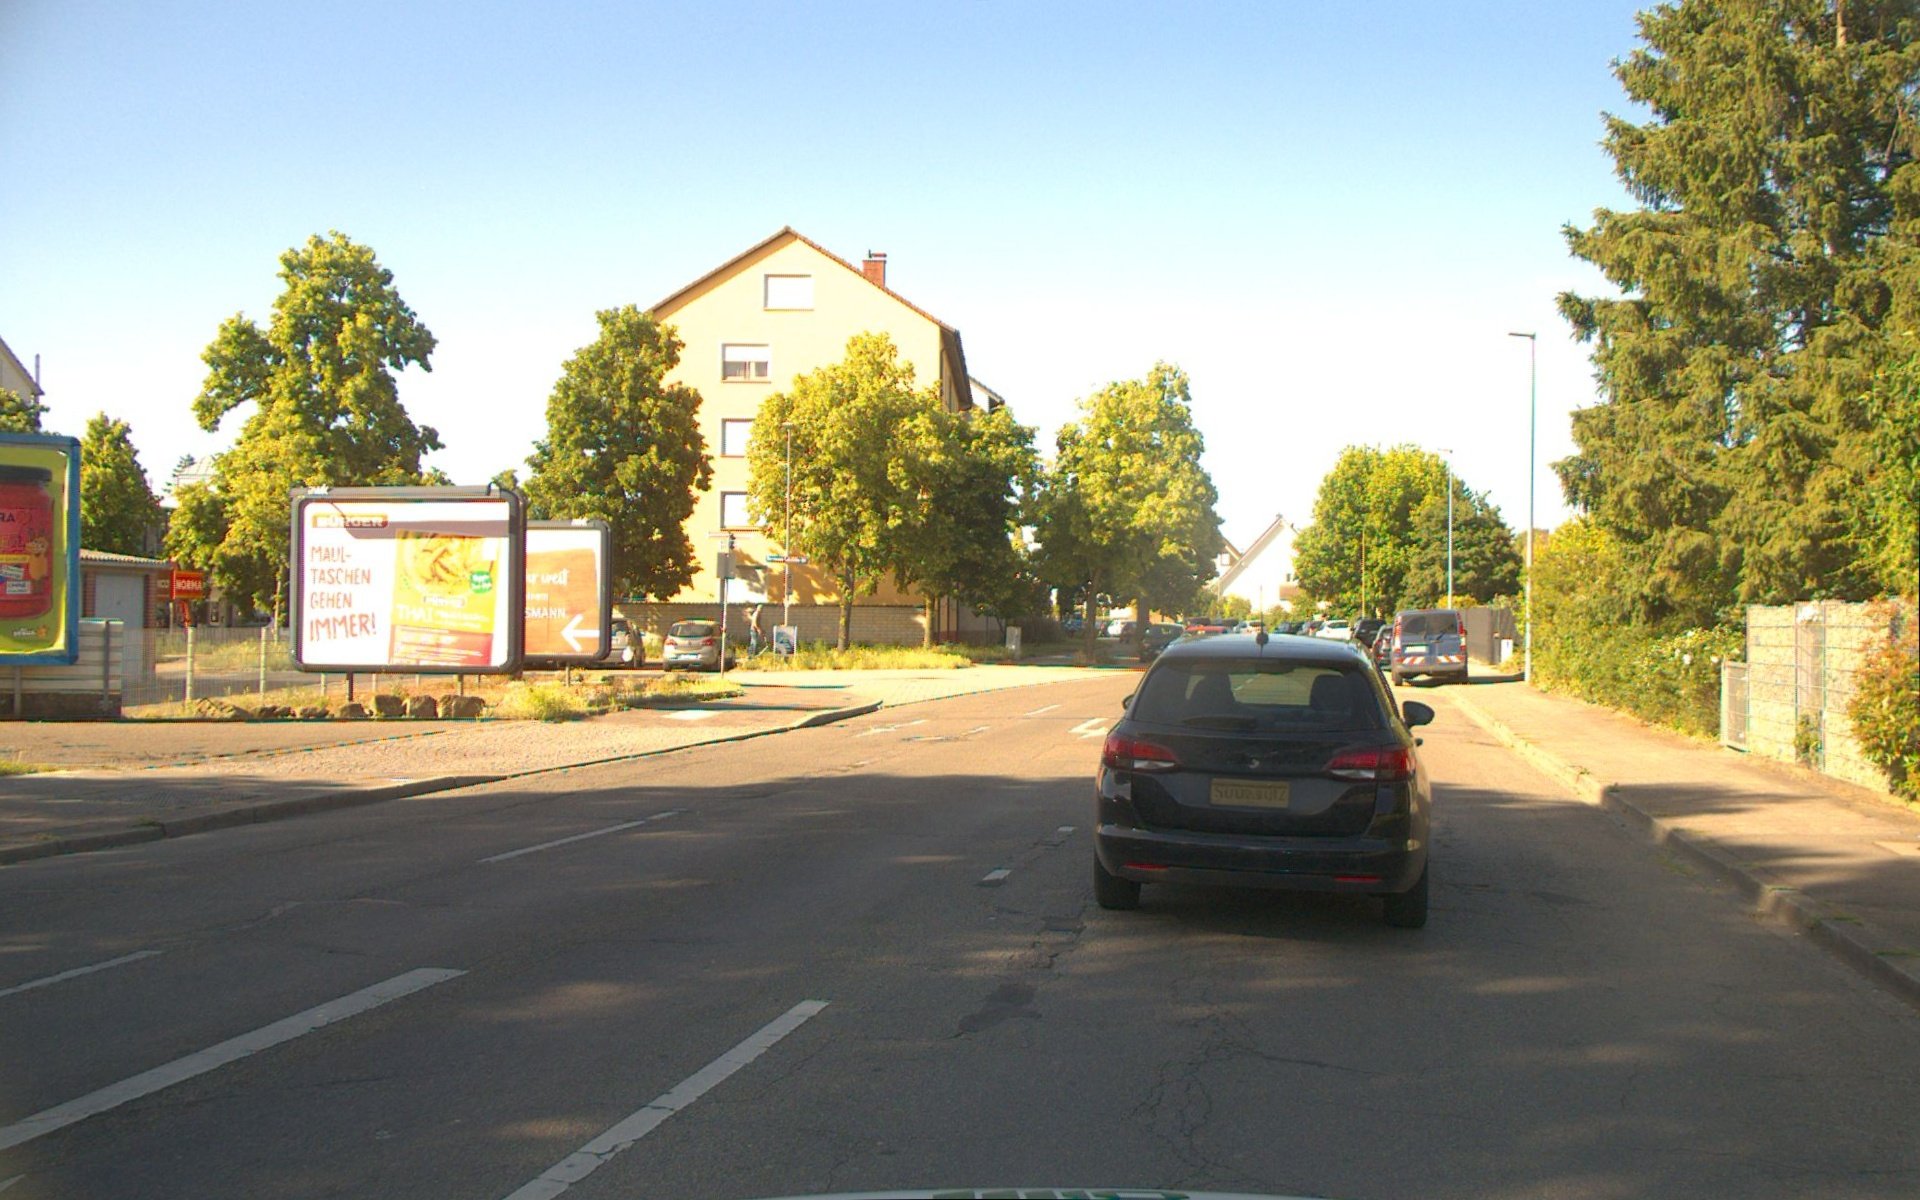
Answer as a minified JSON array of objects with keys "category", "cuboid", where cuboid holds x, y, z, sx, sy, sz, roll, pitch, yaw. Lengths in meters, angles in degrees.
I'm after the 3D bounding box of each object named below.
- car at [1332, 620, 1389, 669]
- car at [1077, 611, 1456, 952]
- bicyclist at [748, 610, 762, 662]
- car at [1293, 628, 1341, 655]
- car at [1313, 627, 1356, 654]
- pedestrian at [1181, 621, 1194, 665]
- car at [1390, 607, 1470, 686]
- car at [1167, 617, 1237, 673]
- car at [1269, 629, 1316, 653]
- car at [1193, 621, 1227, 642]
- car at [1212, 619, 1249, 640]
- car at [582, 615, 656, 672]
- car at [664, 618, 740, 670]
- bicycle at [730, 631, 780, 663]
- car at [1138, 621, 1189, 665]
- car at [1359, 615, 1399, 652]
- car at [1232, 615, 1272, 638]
[{"category":"car","cuboid":[13.221,1.439,54.727,1.728,1.506,4.995,-1,-1,13]},{"category":"car","cuboid":[1.912,0.882,9.839,1.724,1.517,4.294,1,-1,13]},{"category":"bicyclist","cuboid":[-6.734,1.191,54.337,0.382,1.715,0.380,1,-3,-19]},{"category":"car","cuboid":[21.830,2.558,101.258,1.873,1.628,4.292,0,-1,-2]},{"category":"car","cuboid":[21.803,2.363,96.476,1.724,1.506,4.295,0,-1,3]},{"category":"pedestrian","cuboid":[9.416,1.778,68.495,0.493,1.792,0.695,0,-3,9]},{"category":"car","cuboid":[12.367,1.203,43.740,1.797,1.941,4.701,1,-1,13]},{"category":"car","cuboid":[7.813,1.407,53.176,1.969,1.596,4.397,1,0,11]},{"category":"car","cuboid":[21.457,2.660,106.930,1.966,1.501,4.291,0,-1,-3]},{"category":"car","cuboid":[19.214,2.440,127.235,1.784,1.561,4.255,0,-1,-4]},{"category":"car","cuboid":[19.869,2.173,121.802,1.784,1.561,4.255,0,-1,-4]},{"category":"car","cuboid":[-10.556,1.327,51.440,1.663,1.650,3.879,0,0,-3]},{"category":"car","cuboid":[-7.825,1.315,50.519,1.693,1.489,3.881,0,0,0]},{"category":"bicycle","cuboid":[-6.725,1.536,54.320,1.592,1.029,0.404,1,-3,-19]},{"category":"car","cuboid":[7.620,1.614,61.661,1.664,1.506,4.055,2,-2,10]},{"category":"car","cuboid":[20.383,1.645,80.557,1.740,1.754,4.297,-1,-1,13]},{"category":"car","cuboid":[20.476,1.894,116.129,1.784,1.561,4.255,0,-1,-4]}]
